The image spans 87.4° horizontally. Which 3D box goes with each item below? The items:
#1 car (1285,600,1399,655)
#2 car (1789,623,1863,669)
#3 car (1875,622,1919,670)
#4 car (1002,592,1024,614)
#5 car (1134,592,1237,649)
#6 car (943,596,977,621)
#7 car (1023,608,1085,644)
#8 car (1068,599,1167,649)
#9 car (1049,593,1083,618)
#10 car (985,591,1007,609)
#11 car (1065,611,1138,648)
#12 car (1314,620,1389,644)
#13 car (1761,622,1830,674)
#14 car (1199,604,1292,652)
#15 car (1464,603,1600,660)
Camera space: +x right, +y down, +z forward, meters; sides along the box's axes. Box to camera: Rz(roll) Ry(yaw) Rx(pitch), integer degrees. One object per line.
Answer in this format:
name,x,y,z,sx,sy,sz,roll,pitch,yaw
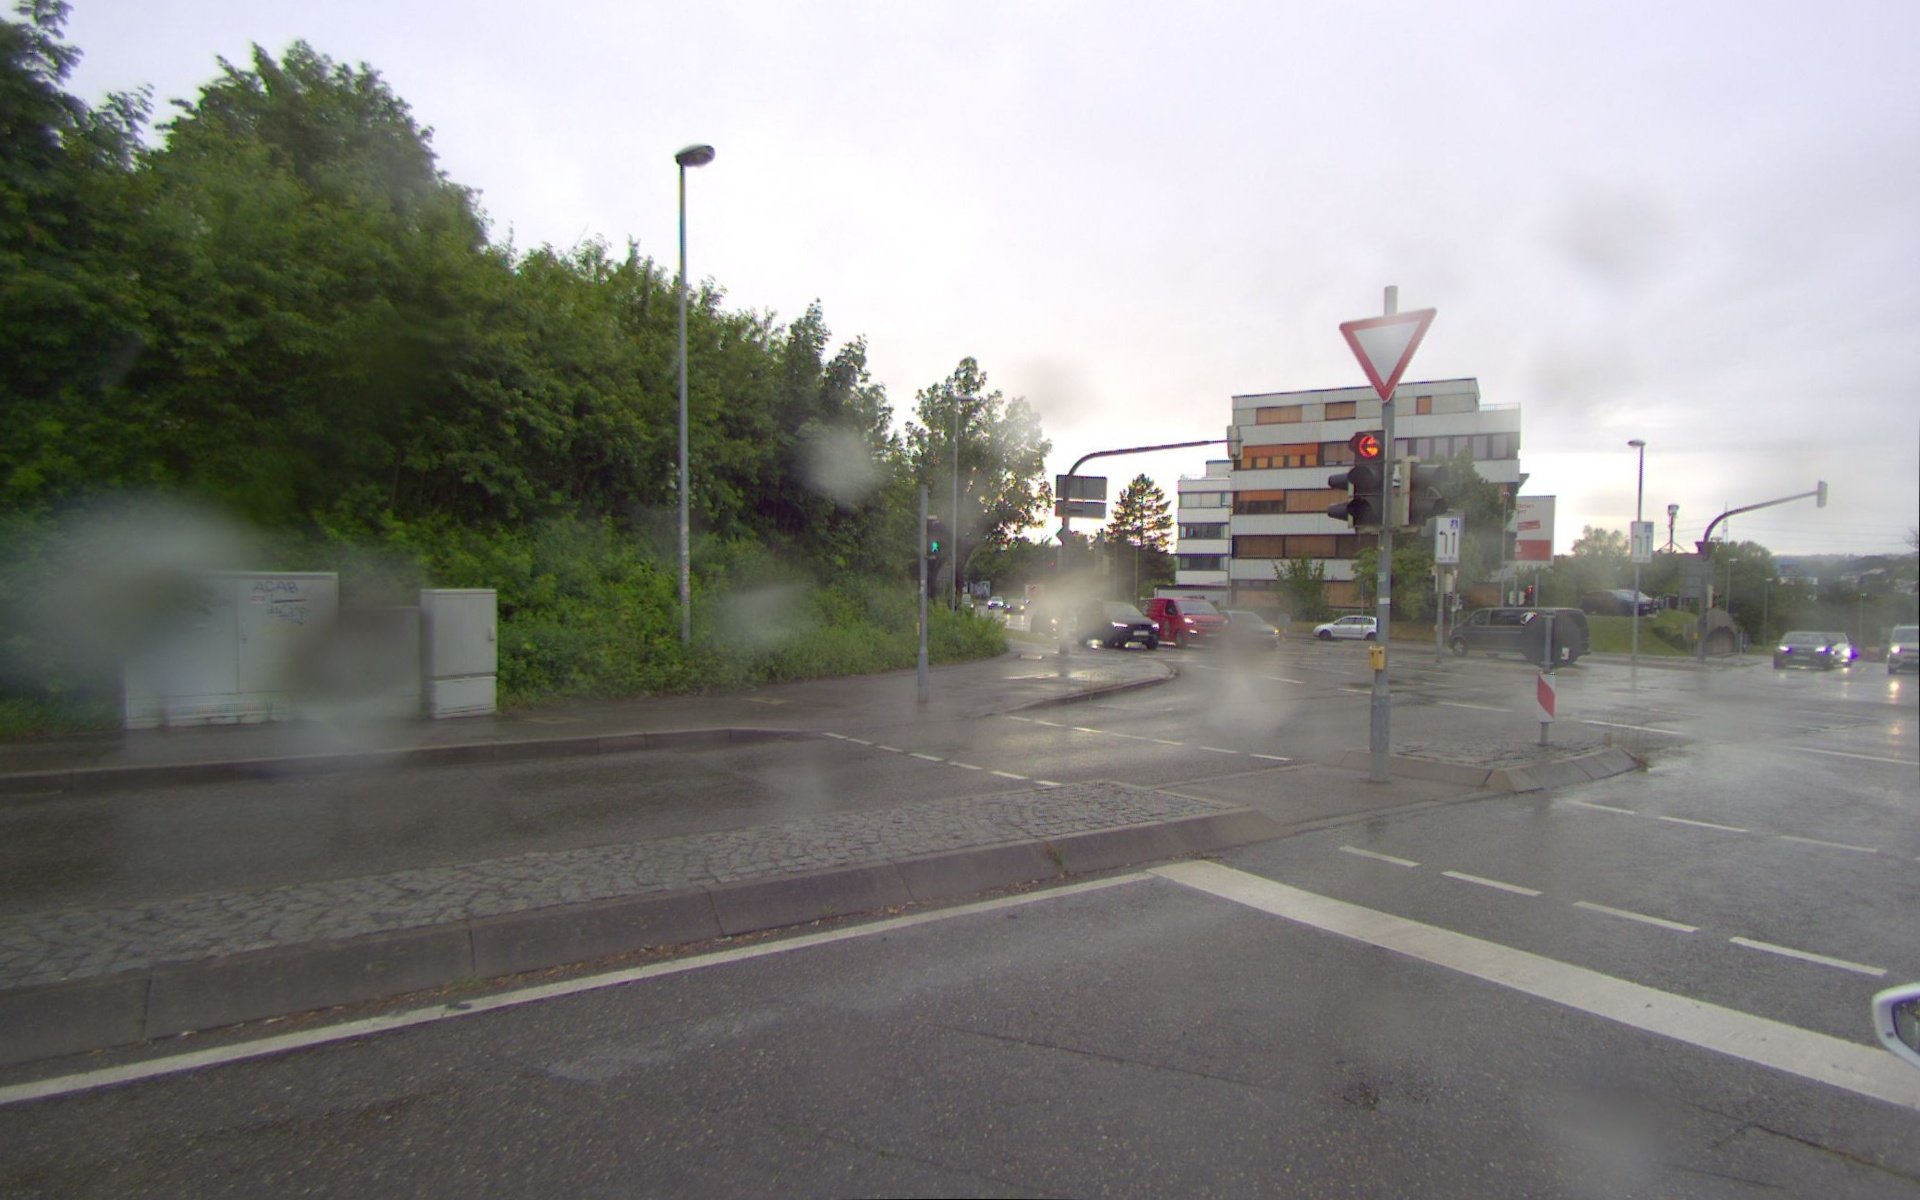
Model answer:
car,14.232,0.983,37.692,1.966,1.865,4.143,1,1,-14
car,39.557,2.064,45.855,3.969,1.920,1.976,1,1,-41
car,35.399,1.679,37.227,3.974,1.639,1.973,0,1,-45
car,5.083,0.265,96.920,1.960,2.041,5.013,1,1,1
car,8.548,0.743,38.570,1.966,2.040,4.775,1,0,-13
car,-0.055,0.602,74.352,1.963,1.725,4.606,1,1,-6
car,4.009,1.102,43.272,1.652,1.405,3.451,1,1,-13
car,5.643,0.845,36.673,1.999,1.701,4.621,1,-1,-13
car,9.308,0.478,88.392,1.962,2.041,5.007,1,1,-6
car,4.294,-0.040,121.037,1.962,2.041,4.548,1,1,-6
car,6.593,1.340,47.219,1.965,1.496,4.664,1,1,-11
car,21.071,1.705,54.028,3.456,1.120,1.815,2,1,34
car,34.046,1.915,40.896,1.971,1.920,3.979,2,1,42
car,11.270,1.069,39.940,1.964,1.706,3.992,1,1,-10
car,20.957,1.122,36.990,1.970,1.873,3.980,1,1,-21
